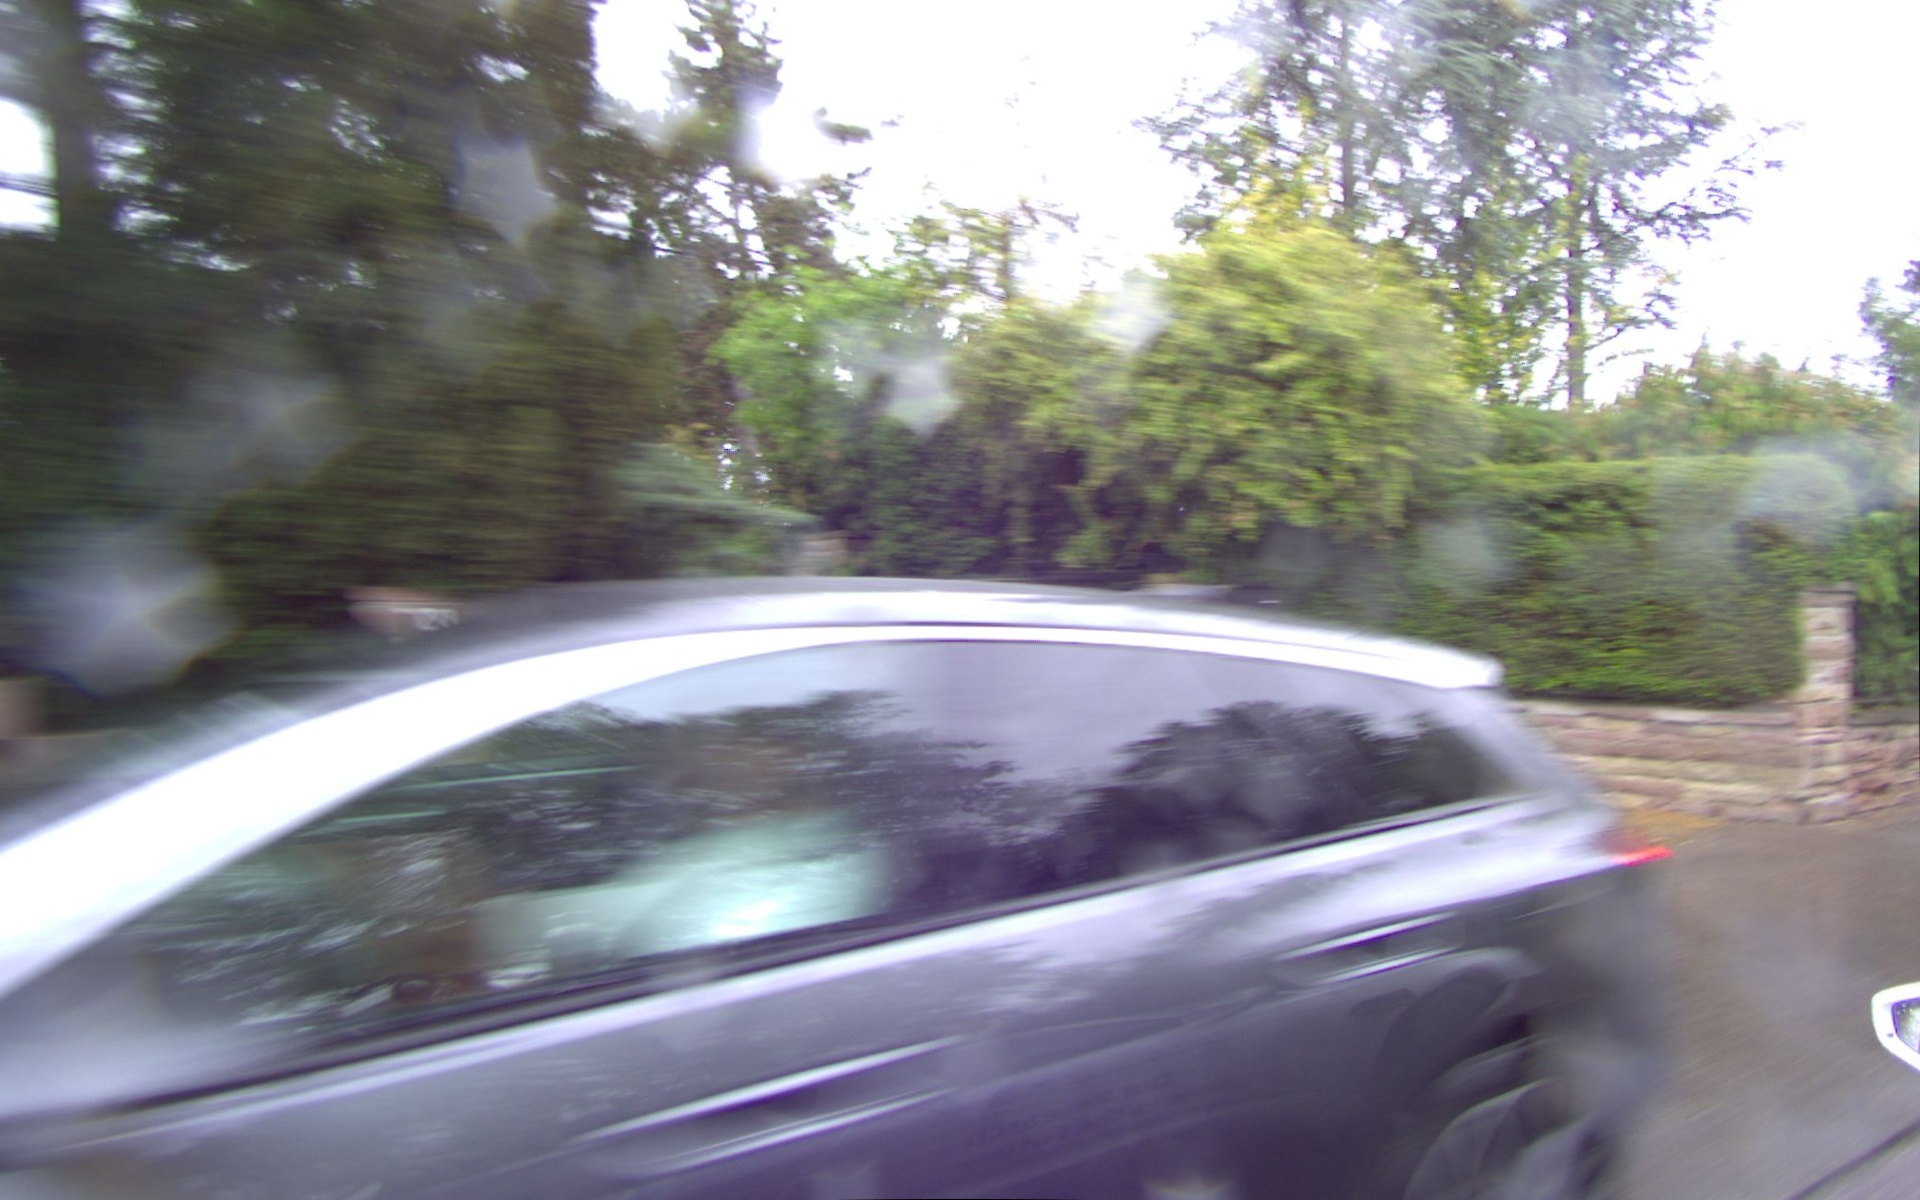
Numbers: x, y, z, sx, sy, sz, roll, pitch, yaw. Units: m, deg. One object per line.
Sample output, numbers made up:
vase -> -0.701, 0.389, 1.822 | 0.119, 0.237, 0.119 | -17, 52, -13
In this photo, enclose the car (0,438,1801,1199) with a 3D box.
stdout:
car -> -0.434, 0.678, 1.937 | 4.372, 1.543, 1.878 | 2, 0, -32
